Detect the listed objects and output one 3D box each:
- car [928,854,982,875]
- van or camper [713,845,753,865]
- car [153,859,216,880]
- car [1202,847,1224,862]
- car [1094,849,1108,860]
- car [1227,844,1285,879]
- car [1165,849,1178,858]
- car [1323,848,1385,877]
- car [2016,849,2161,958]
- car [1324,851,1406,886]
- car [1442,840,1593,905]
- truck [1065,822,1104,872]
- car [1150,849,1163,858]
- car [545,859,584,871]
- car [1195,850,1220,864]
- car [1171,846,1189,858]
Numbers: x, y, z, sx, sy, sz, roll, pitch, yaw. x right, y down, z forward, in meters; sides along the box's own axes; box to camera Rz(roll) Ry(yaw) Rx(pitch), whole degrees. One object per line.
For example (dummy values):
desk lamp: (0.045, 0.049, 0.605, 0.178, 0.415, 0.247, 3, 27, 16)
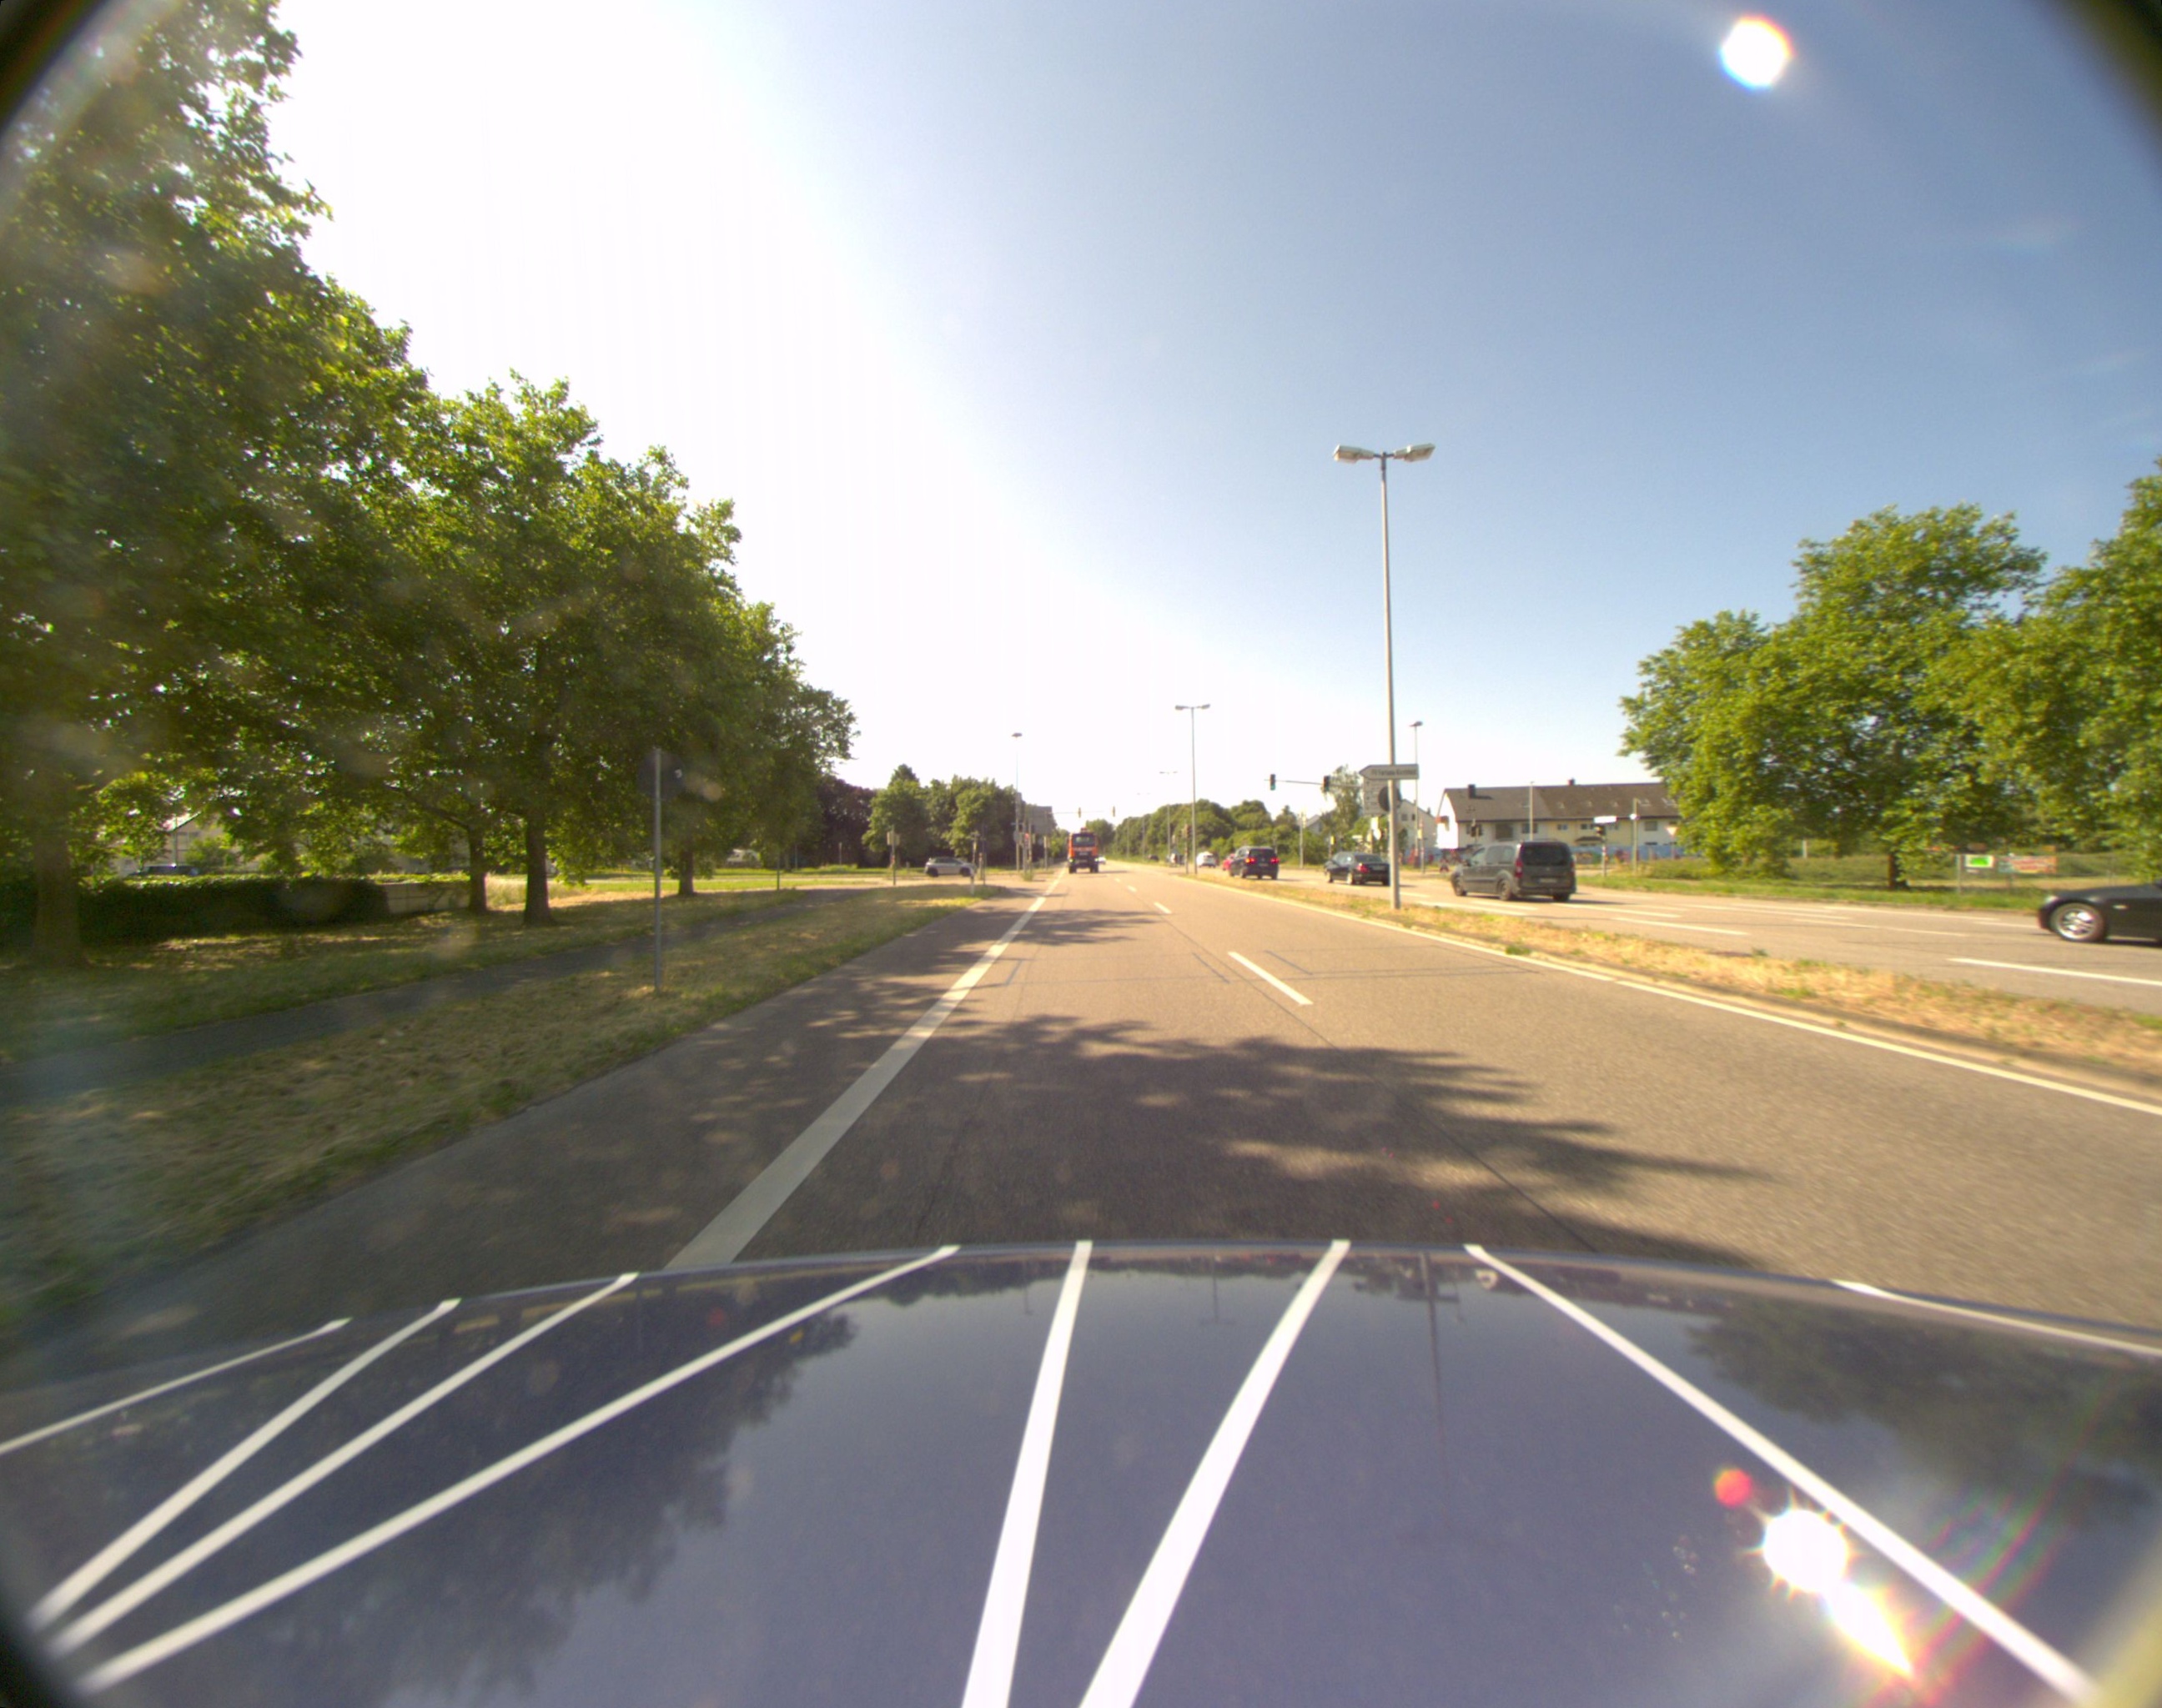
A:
car: (-10.090, 0.839, 61.156, 4.062, 1.555, 1.742, -1, 1, -1)
van or camper: (-50.439, 0.125, 110.173, 4.813, 2.815, 1.999, -1, 1, -3)
car: (-81.465, 1.418, 69.061, 3.993, 1.779, 2.002, -1, 1, 11)
car: (16.240, 0.016, 93.883, 1.709, 1.759, 4.227, 0, 0, -4)
car: (3.053, 0.102, 114.907, 1.868, 1.499, 4.337, -3, 1, 2)
car: (9.256, 0.342, 40.551, 1.986, 1.740, 4.507, 1, 1, 0)
car: (15.775, -0.132, 132.156, 1.890, 1.449, 4.229, -1, 0, 2)
car: (16.569, 0.476, 46.382, 2.077, 1.613, 4.489, 1, 0, -1)
car: (16.237, 0.712, 10.219, 1.867, 1.536, 4.405, 0, 1, 0)
car: (12.644, 0.610, 34.162, 1.986, 1.449, 4.449, 1, 0, 0)
car: (12.960, 0.486, 22.935, 1.986, 1.769, 4.489, -1, 0, 0)
truck: (0.269, -0.603, 63.740, 2.940, 3.853, 6.590, -2, 1, 0)
car: (12.658, -0.115, 127.195, 1.986, 1.449, 4.333, -1, 0, 3)
car: (-61.067, 1.312, 89.891, 1.731, 1.281, 4.000, -1, 0, 1)
car: (12.791, 0.295, 77.238, 1.833, 1.378, 3.842, -1, 0, -1)
car: (12.293, -0.226, 94.280, 1.623, 1.449, 3.871, -1, 0, -1)
